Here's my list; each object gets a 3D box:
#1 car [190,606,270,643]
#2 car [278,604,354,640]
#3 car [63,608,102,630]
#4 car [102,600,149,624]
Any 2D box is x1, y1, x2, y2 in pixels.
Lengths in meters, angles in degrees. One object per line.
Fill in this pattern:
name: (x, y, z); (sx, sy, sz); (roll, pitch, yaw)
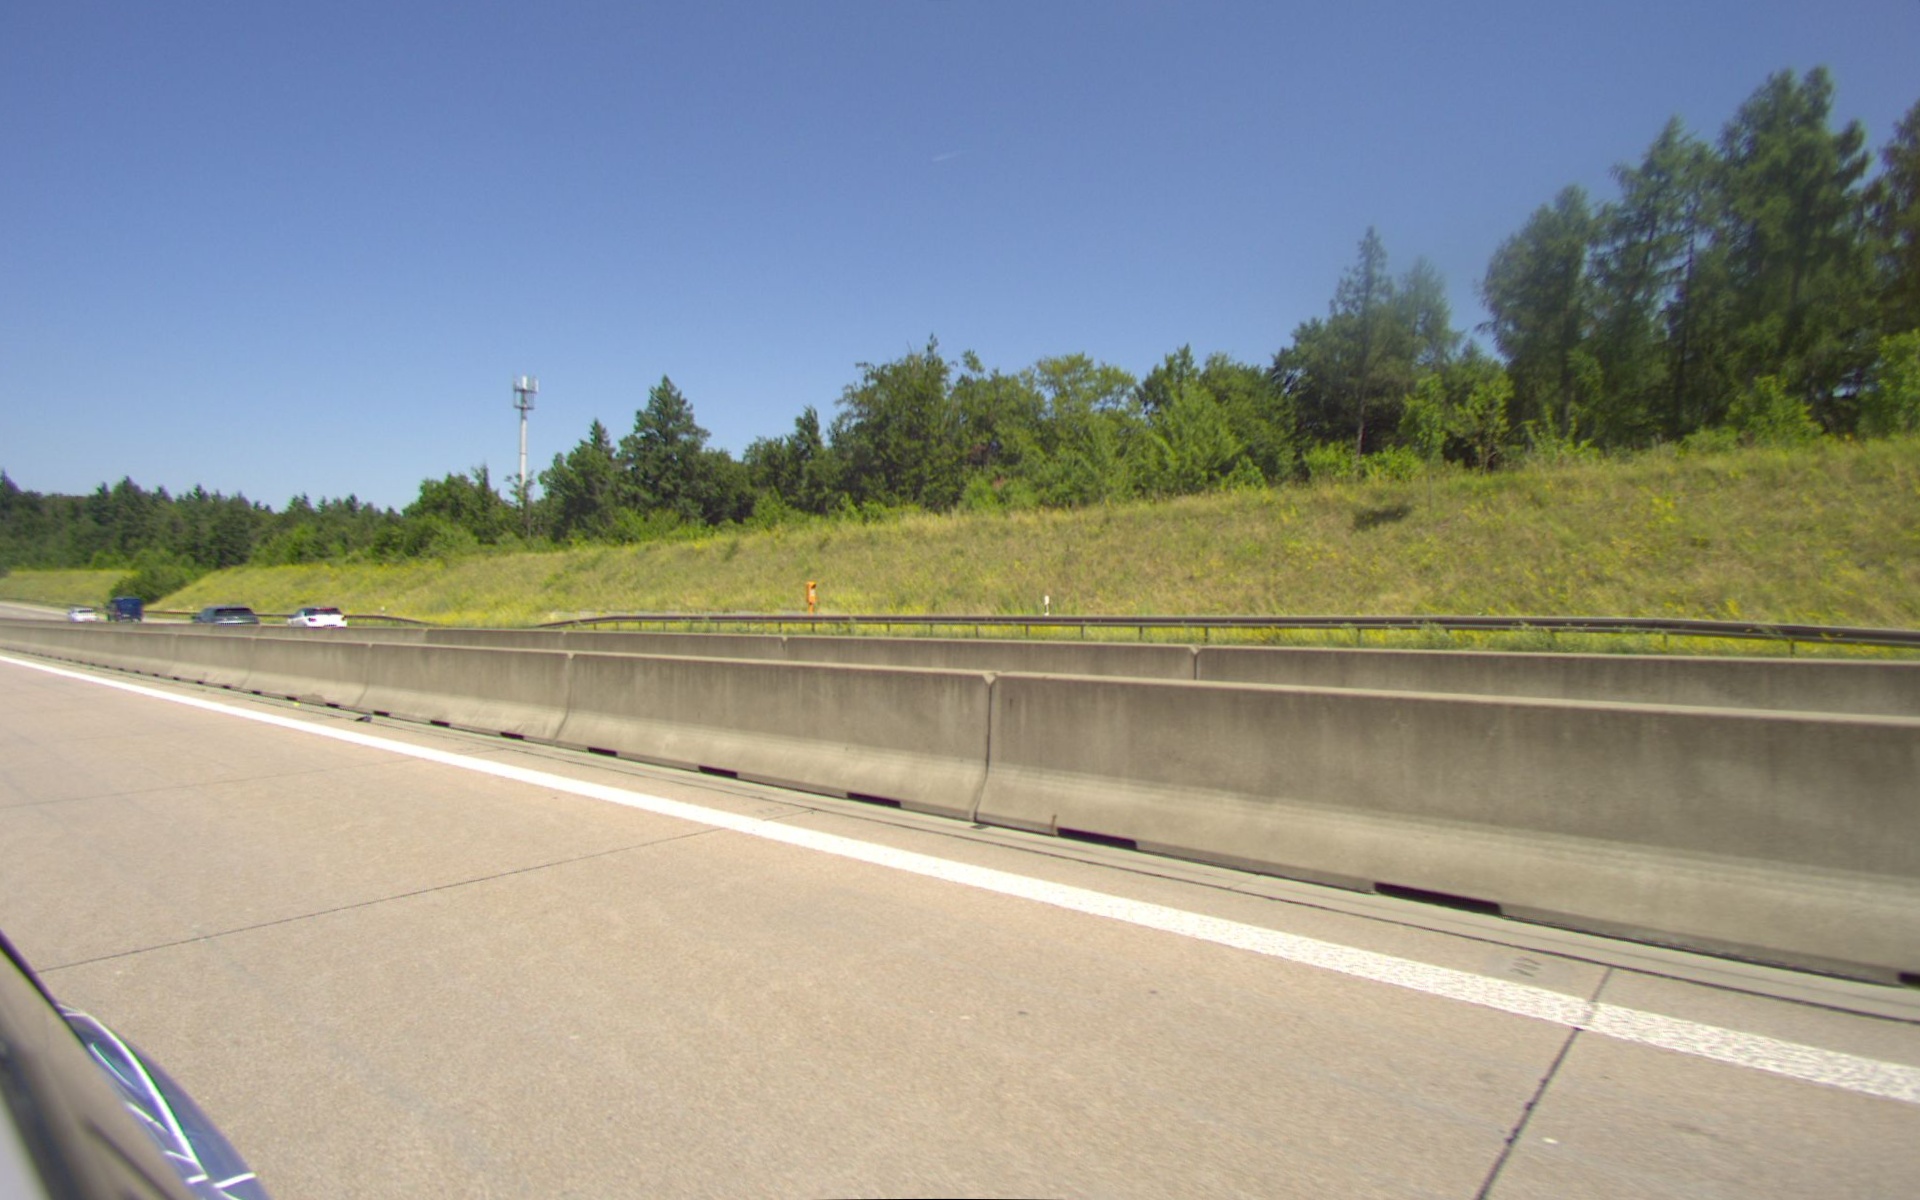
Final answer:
car: (-32.576, 1.070, 45.131); (4.194, 1.549, 1.973); (-1, 0, 41)
car: (-30.349, 1.035, 47.659); (3.998, 1.575, 1.973); (-1, 0, 41)
car: (-78.722, 1.697, 90.729); (4.851, 1.821, 1.987); (-1, 0, 41)
car: (-80.476, 1.152, 97.594); (6.456, 2.226, 2.455); (-1, 0, 41)
